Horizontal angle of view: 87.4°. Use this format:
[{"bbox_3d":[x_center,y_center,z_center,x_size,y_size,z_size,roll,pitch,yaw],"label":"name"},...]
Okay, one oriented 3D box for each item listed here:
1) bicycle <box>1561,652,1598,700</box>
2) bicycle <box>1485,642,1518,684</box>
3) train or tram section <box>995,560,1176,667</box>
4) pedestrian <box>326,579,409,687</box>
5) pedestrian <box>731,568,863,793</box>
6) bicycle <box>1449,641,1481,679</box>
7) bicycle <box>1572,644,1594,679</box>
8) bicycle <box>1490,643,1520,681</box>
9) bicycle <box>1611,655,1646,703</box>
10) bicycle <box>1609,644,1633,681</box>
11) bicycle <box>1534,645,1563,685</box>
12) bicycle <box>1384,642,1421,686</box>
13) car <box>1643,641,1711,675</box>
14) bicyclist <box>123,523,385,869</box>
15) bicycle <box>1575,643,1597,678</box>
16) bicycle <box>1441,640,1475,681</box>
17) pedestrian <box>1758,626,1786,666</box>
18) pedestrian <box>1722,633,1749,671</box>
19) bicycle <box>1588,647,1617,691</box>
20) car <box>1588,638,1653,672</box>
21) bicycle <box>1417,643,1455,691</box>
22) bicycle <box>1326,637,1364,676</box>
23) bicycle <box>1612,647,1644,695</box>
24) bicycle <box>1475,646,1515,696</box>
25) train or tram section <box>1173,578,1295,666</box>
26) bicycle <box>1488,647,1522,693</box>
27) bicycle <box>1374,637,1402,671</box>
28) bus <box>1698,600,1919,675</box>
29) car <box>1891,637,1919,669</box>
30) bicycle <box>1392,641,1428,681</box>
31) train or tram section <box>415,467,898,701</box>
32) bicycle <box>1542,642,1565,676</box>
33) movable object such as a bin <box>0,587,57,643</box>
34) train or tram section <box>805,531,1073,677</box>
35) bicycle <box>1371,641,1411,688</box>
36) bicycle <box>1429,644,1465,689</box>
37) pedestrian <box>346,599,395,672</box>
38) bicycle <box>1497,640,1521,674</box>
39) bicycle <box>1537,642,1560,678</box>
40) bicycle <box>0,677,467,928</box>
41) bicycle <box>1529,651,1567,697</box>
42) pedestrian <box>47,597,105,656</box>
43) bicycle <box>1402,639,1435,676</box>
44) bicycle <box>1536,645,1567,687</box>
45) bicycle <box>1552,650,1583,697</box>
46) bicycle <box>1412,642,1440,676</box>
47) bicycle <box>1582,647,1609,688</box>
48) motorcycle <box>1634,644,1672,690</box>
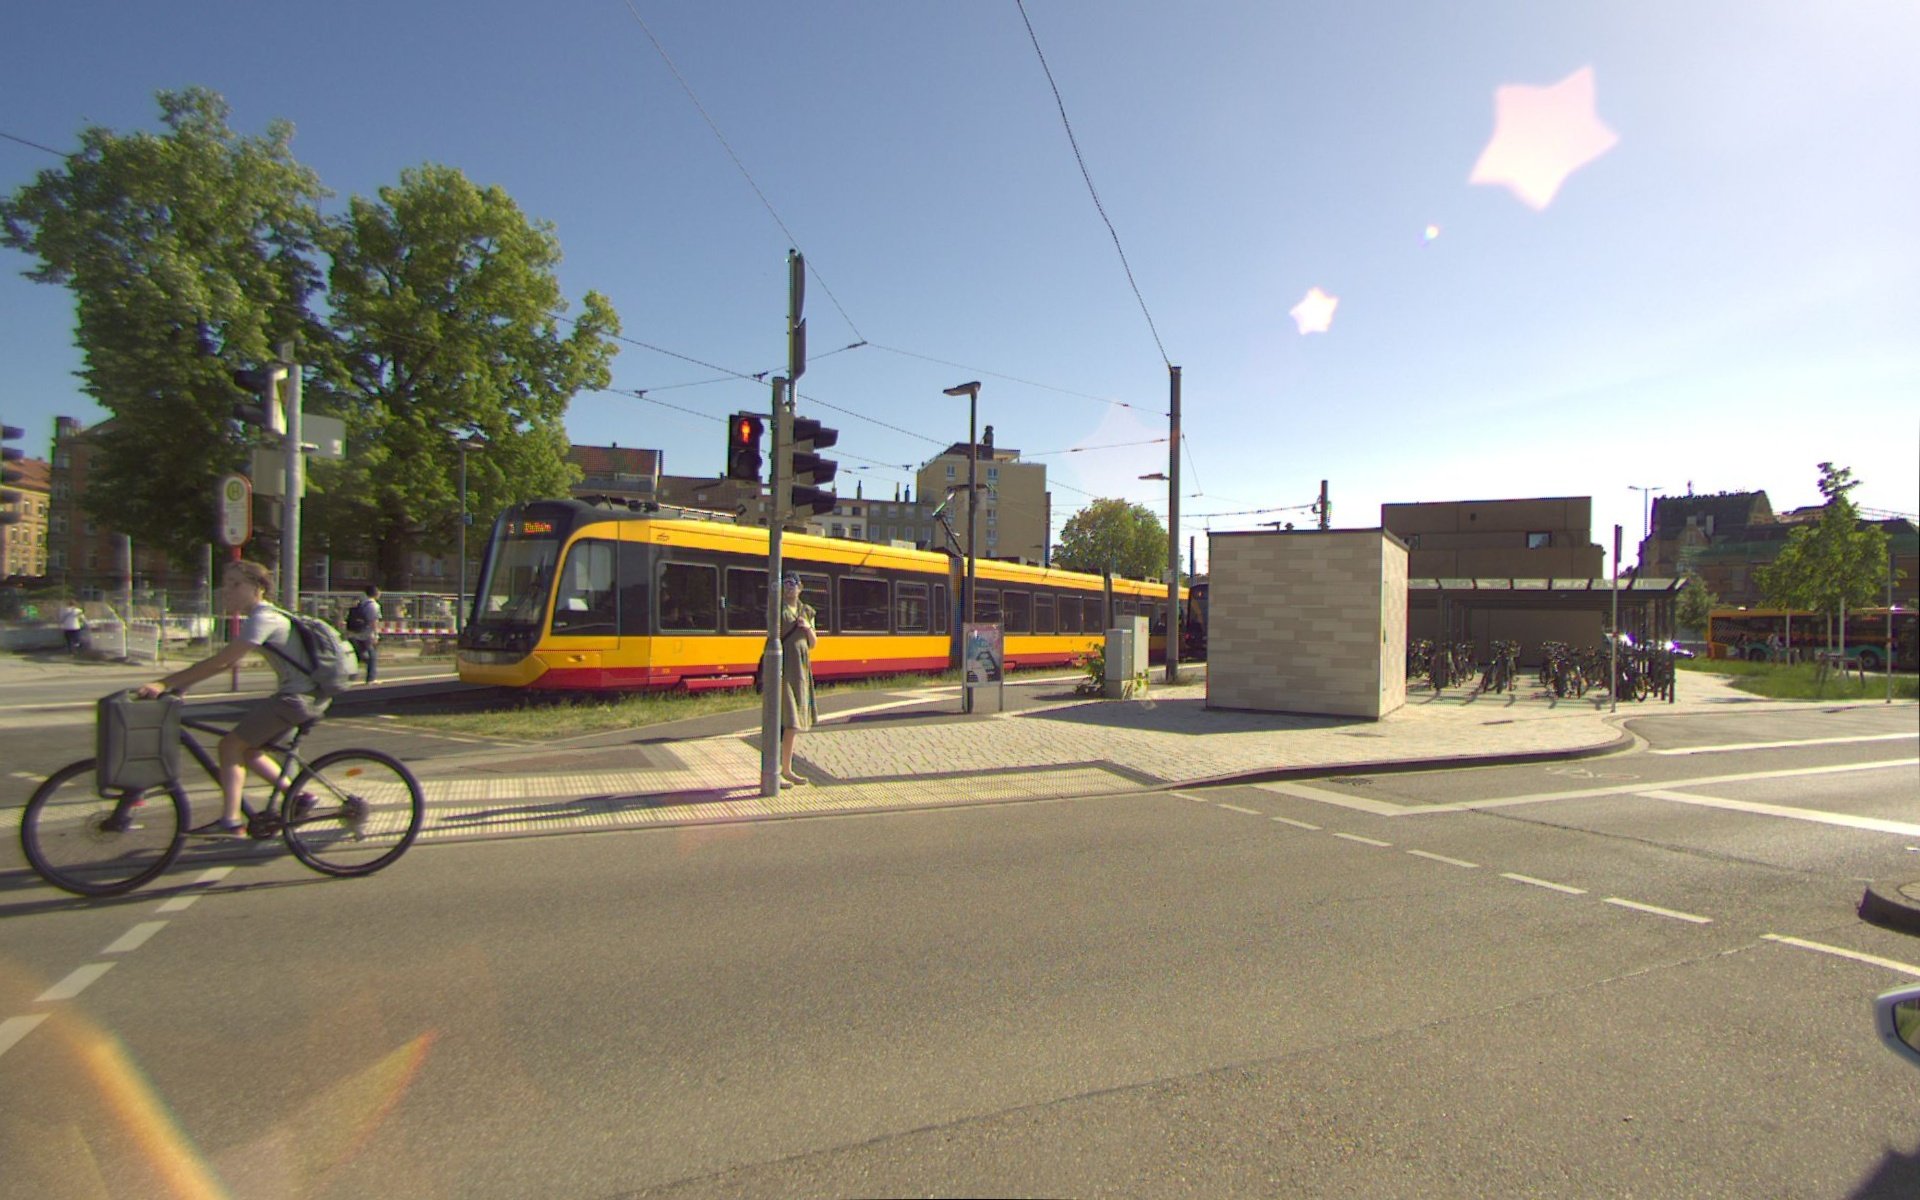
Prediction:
[{"bbox_3d":[13.794,1.668,22.333,0.572,0.973,2.053,2,-2,34],"label":"bicycle"},{"bbox_3d":[15.233,1.764,28.245,0.572,1.102,2.053,2,-1,34],"label":"bicycle"},{"bbox_3d":[5.272,0.597,39.081,2.775,3.554,11.190,2,-1,30],"label":"train or tram section"},{"bbox_3d":[-10.525,0.605,17.870,0.747,1.856,1.018,-2,-3,30],"label":"pedestrian"},{"bbox_3d":[-1.448,0.663,8.929,0.888,1.875,0.760,1,2,39],"label":"pedestrian"},{"bbox_3d":[15.457,1.833,30.729,0.572,1.102,2.053,2,-1,34],"label":"bicycle"},{"bbox_3d":[20.838,2.046,33.573,0.572,1.102,1.867,2,-1,32],"label":"bicycle"},{"bbox_3d":[16.377,1.857,30.180,0.572,1.102,1.895,2,-1,34],"label":"bicycle"},{"bbox_3d":[14.584,1.698,21.895,0.572,0.973,2.053,2,-2,34],"label":"bicycle"},{"bbox_3d":[20.707,1.945,31.485,0.572,1.102,1.867,2,-1,32],"label":"bicycle"},{"bbox_3d":[17.320,1.899,29.560,0.572,1.102,1.924,2,-1,34],"label":"bicycle"},{"bbox_3d":[11.413,1.632,25.883,0.572,1.072,1.812,2,-1,32],"label":"bicycle"},{"bbox_3d":[47.825,3.837,67.110,1.970,2.040,4.003,3,-1,7],"label":"car"},{"bbox_3d":[-3.828,0.486,5.517,1.050,1.666,0.874,2,-2,-35],"label":"bicyclist"},{"bbox_3d":[21.029,2.020,33.719,0.572,1.102,1.867,2,-1,33],"label":"bicycle"},{"bbox_3d":[14.291,1.729,28.801,0.572,1.102,2.053,2,-1,34],"label":"bicycle"},{"bbox_3d":[37.665,2.126,46.602,0.774,1.764,0.626,3,-1,-9],"label":"pedestrian"},{"bbox_3d":[37.673,2.520,48.777,0.774,1.764,0.655,3,-1,-9],"label":"pedestrian"},{"bbox_3d":[17.187,1.829,26.857,0.572,1.102,2.053,2,-1,34],"label":"bicycle"},{"bbox_3d":[44.059,3.648,67.094,1.970,2.040,4.003,3,-1,7],"label":"car"},{"bbox_3d":[11.307,1.579,23.850,0.572,1.072,1.812,2,-1,32],"label":"bicycle"},{"bbox_3d":[11.652,1.716,30.391,0.572,1.102,2.053,2,-1,34],"label":"bicycle"},{"bbox_3d":[15.717,1.653,23.622,0.572,1.065,1.967,2,-1,34],"label":"bicycle"},{"bbox_3d":[12.327,1.613,23.125,0.572,1.072,1.811,2,-1,34],"label":"bicycle"},{"bbox_3d":[12.692,1.028,45.696,2.828,3.554,10.526,1,-1,29],"label":"train or tram section"},{"bbox_3d":[13.442,1.707,24.747,0.572,1.072,1.812,2,-1,32],"label":"bicycle"},{"bbox_3d":[14.937,1.885,35.037,0.572,1.102,1.867,2,-1,33],"label":"bicycle"},{"bbox_3d":[45.053,1.913,52.417,2.829,3.440,12.435,3,-1,-6],"label":"bus"},{"bbox_3d":[48.616,2.664,49.055,1.934,1.541,4.406,3,-1,-8],"label":"car"},{"bbox_3d":[13.167,1.768,29.344,0.572,1.102,2.053,2,-1,34],"label":"bicycle"},{"bbox_3d":[-5.246,-0.094,20.501,2.775,3.554,10.463,0,-1,29],"label":"train or tram section"},{"bbox_3d":[20.227,2.015,34.223,0.572,1.102,1.867,2,-1,33],"label":"bicycle"},{"bbox_3d":[-51.323,0.665,52.298,5.993,2.795,1.886,3,-1,-20],"label":"movable object such as a bin"},{"bbox_3d":[-0.099,0.216,29.664,2.775,3.554,10.592,2,-1,30],"label":"train or tram section"},{"bbox_3d":[10.413,1.544,24.258,0.572,1.072,1.812,2,-1,32],"label":"bicycle"},{"bbox_3d":[12.366,1.670,25.480,0.572,1.072,1.812,2,-1,32],"label":"bicycle"},{"bbox_3d":[-14.727,0.876,25.104,0.657,1.791,0.799,0,-1,29],"label":"pedestrian"},{"bbox_3d":[19.059,1.971,34.839,0.572,1.102,1.867,2,-1,33],"label":"bicycle"},{"bbox_3d":[19.087,1.935,32.563,0.572,1.102,1.867,2,-1,32],"label":"bicycle"},{"bbox_3d":[-3.871,0.996,5.471,2.016,1.095,0.768,3,-2,-36],"label":"bicycle"},{"bbox_3d":[13.301,1.652,22.693,0.572,0.973,2.053,2,-2,34],"label":"bicycle"},{"bbox_3d":[-27.040,0.809,30.744,0.956,1.791,0.863,1,-1,-10],"label":"pedestrian"},{"bbox_3d":[14.381,1.796,31.480,0.572,1.102,2.053,2,-1,34],"label":"bicycle"},{"bbox_3d":[16.283,1.802,27.642,0.572,1.102,2.053,2,-1,34],"label":"bicycle"},{"bbox_3d":[14.648,1.755,24.201,0.572,1.072,1.812,2,-1,32],"label":"bicycle"},{"bbox_3d":[15.988,2.015,34.430,0.572,1.102,1.867,2,-1,33],"label":"bicycle"},{"bbox_3d":[18.266,1.930,28.851,0.572,1.102,2.010,2,-1,34],"label":"bicycle"},{"bbox_3d":[19.100,1.829,27.707,0.542,1.192,1.920,2,-1,26],"label":"motorcycle"}]
